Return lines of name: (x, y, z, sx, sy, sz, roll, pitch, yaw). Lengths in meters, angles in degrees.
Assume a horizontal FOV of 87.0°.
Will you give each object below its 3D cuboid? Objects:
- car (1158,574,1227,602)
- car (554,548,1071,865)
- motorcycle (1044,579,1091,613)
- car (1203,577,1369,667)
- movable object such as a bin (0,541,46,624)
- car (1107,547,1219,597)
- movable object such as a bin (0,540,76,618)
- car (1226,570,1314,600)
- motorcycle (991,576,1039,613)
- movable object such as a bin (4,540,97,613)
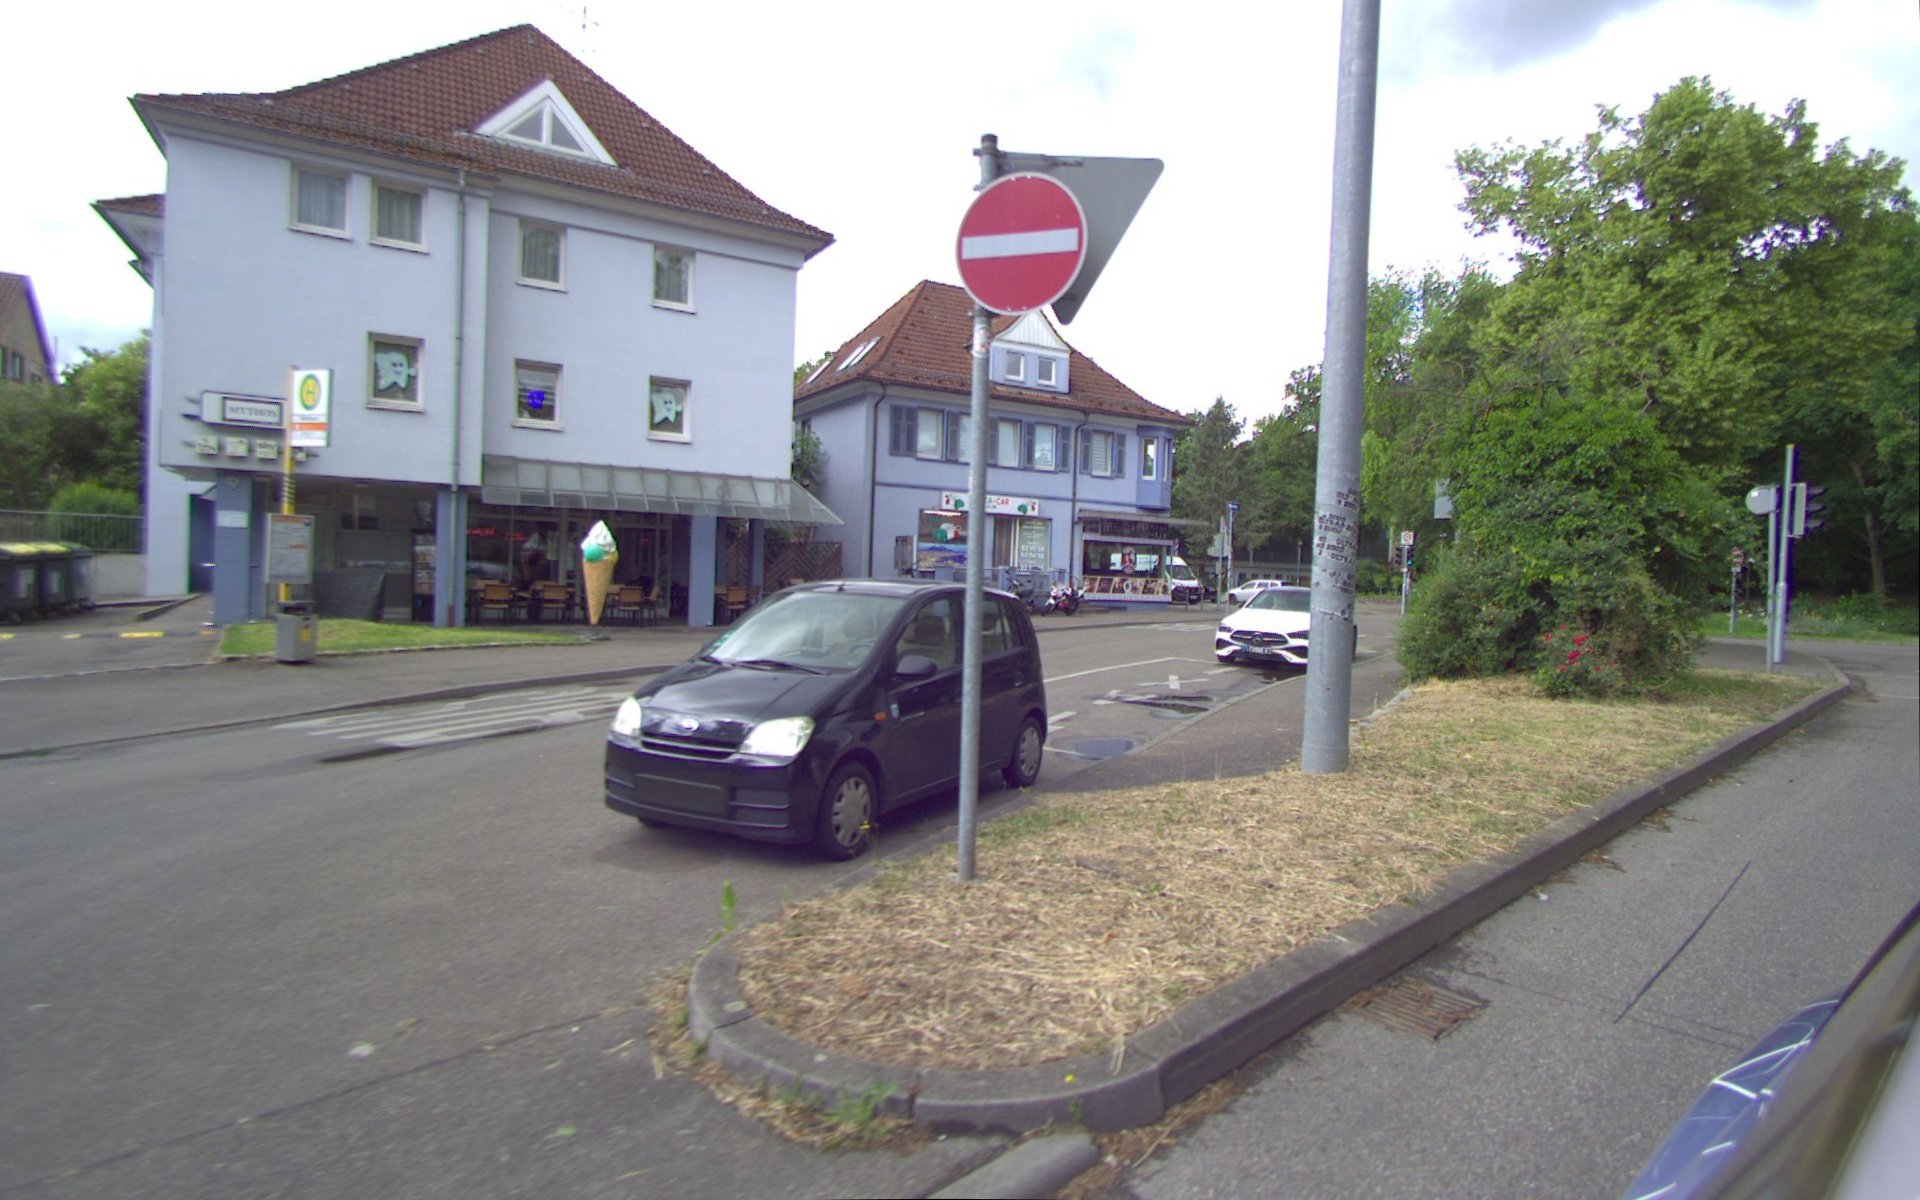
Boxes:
car: (13.769, -0.730, 60.196, 1.765, 1.473, 3.965, 0, 2, -29)
car: (-0.660, 0.459, 6.546, 1.559, 1.421, 3.460, 3, 2, 28)
motorcycle: (3.355, -0.133, 31.408, 0.519, 0.997, 1.797, 3, 2, 39)
car: (6.389, 0.308, 19.433, 1.985, 1.403, 4.736, 3, 3, 31)
movable object such as a bin: (-17.191, -0.336, 17.986, 1.072, 1.433, 1.221, 0, 2, -25)
car: (10.515, -1.526, 52.954, 2.289, 2.421, 5.967, 0, 2, -30)
movable object such as a bin: (-17.763, -0.410, 19.225, 1.137, 1.412, 1.221, 0, 2, -25)
car: (16.871, -0.832, 55.312, 1.862, 1.473, 4.554, 0, 2, -28)
motorcycle: (1.640, -0.167, 29.896, 0.487, 1.044, 1.701, 3, 3, 39)
movable object such as a bin: (-18.310, -0.482, 20.420, 1.072, 1.412, 1.221, 0, 2, -25)
